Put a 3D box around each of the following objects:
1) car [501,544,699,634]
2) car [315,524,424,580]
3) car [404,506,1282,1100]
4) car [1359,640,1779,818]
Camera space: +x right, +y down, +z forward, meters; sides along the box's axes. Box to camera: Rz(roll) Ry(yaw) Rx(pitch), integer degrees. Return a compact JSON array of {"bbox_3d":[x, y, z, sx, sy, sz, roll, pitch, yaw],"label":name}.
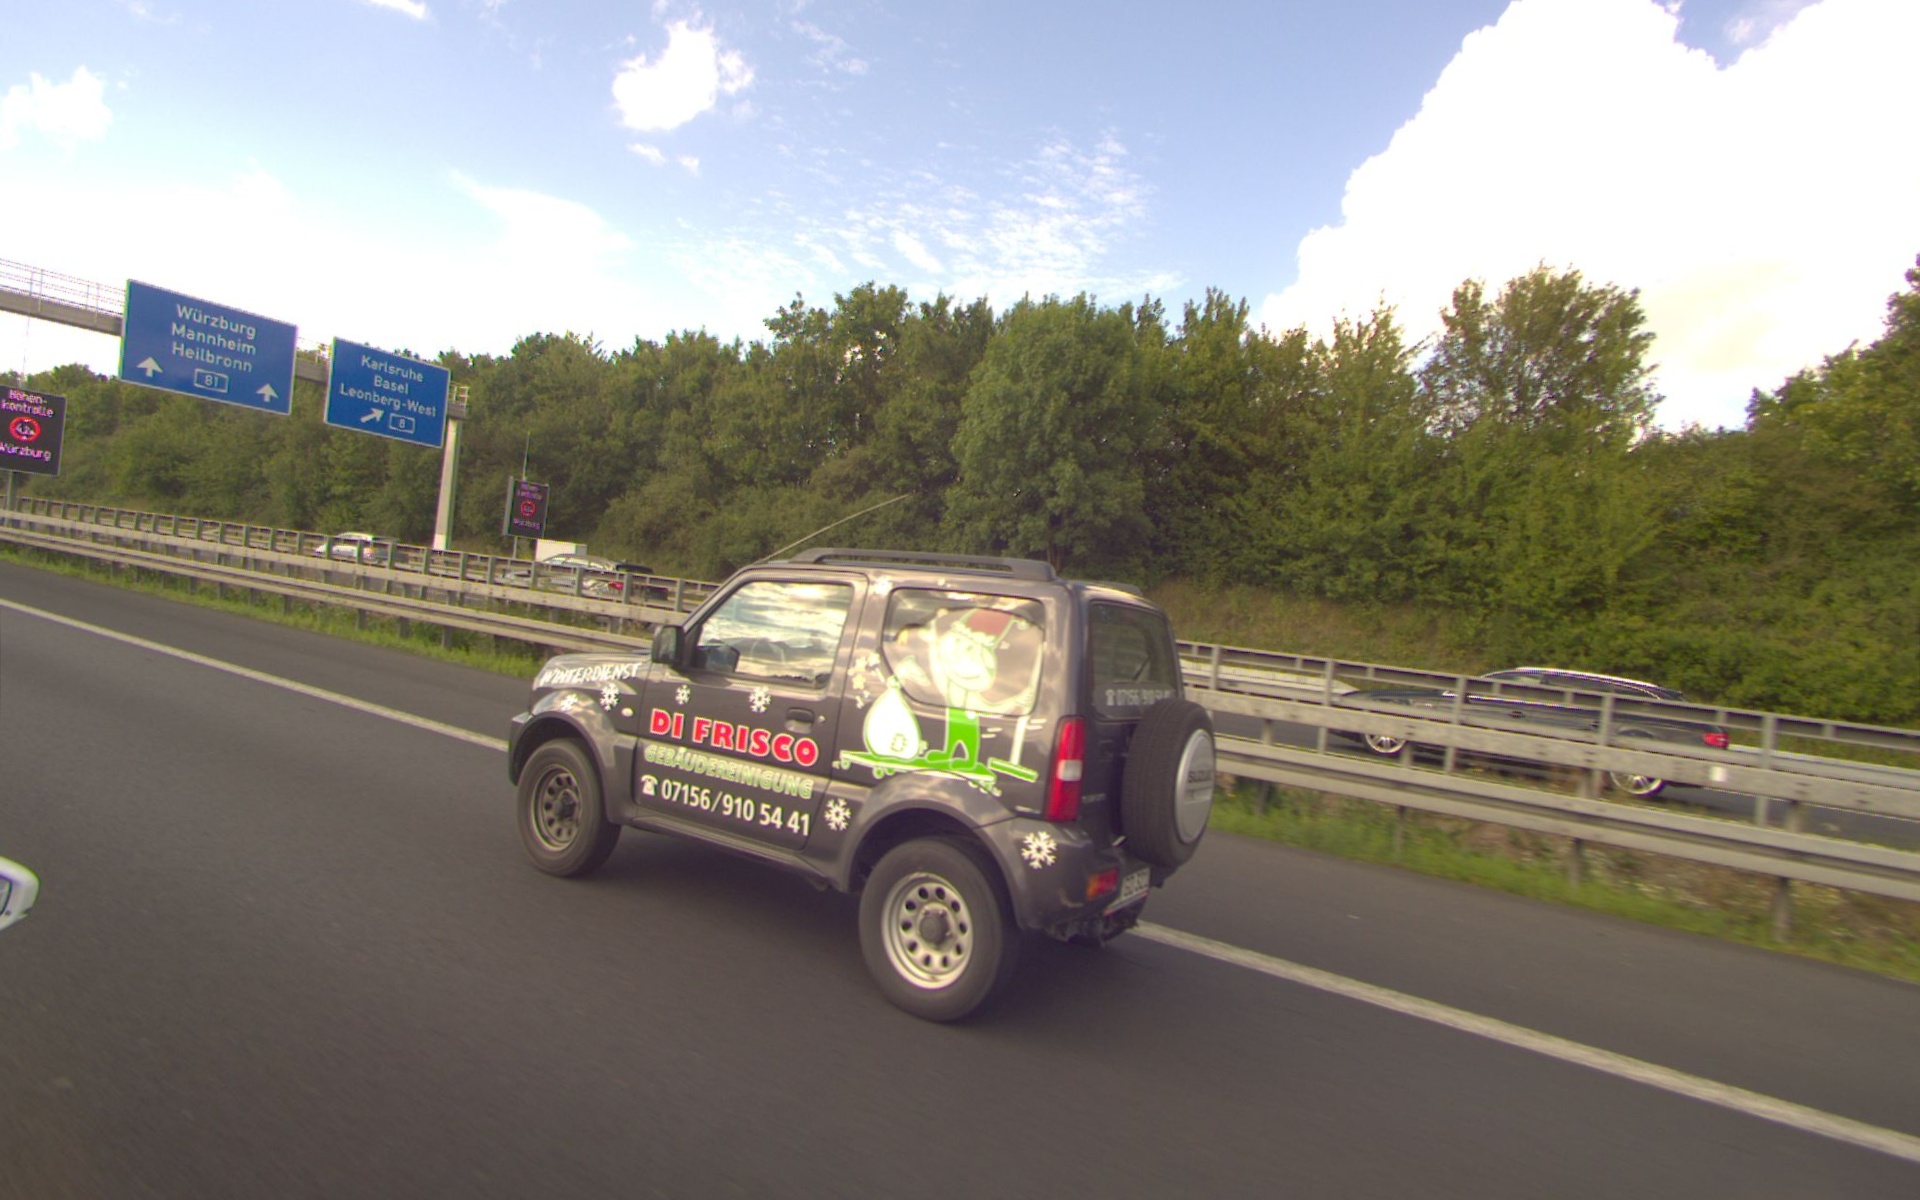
[{"bbox_3d":[-8.033,-0.257,22.414,3.933,1.502,1.997,6,-1,31],"label":"car"},{"bbox_3d":[-23.236,-1.894,39.560,3.934,1.730,1.995,6,1,32],"label":"car"},{"bbox_3d":[-0.779,0.613,5.068,4.138,1.754,1.668,6,0,33],"label":"car"},{"bbox_3d":[7.677,1.547,13.104,4.238,1.502,1.997,6,-1,31],"label":"car"}]
